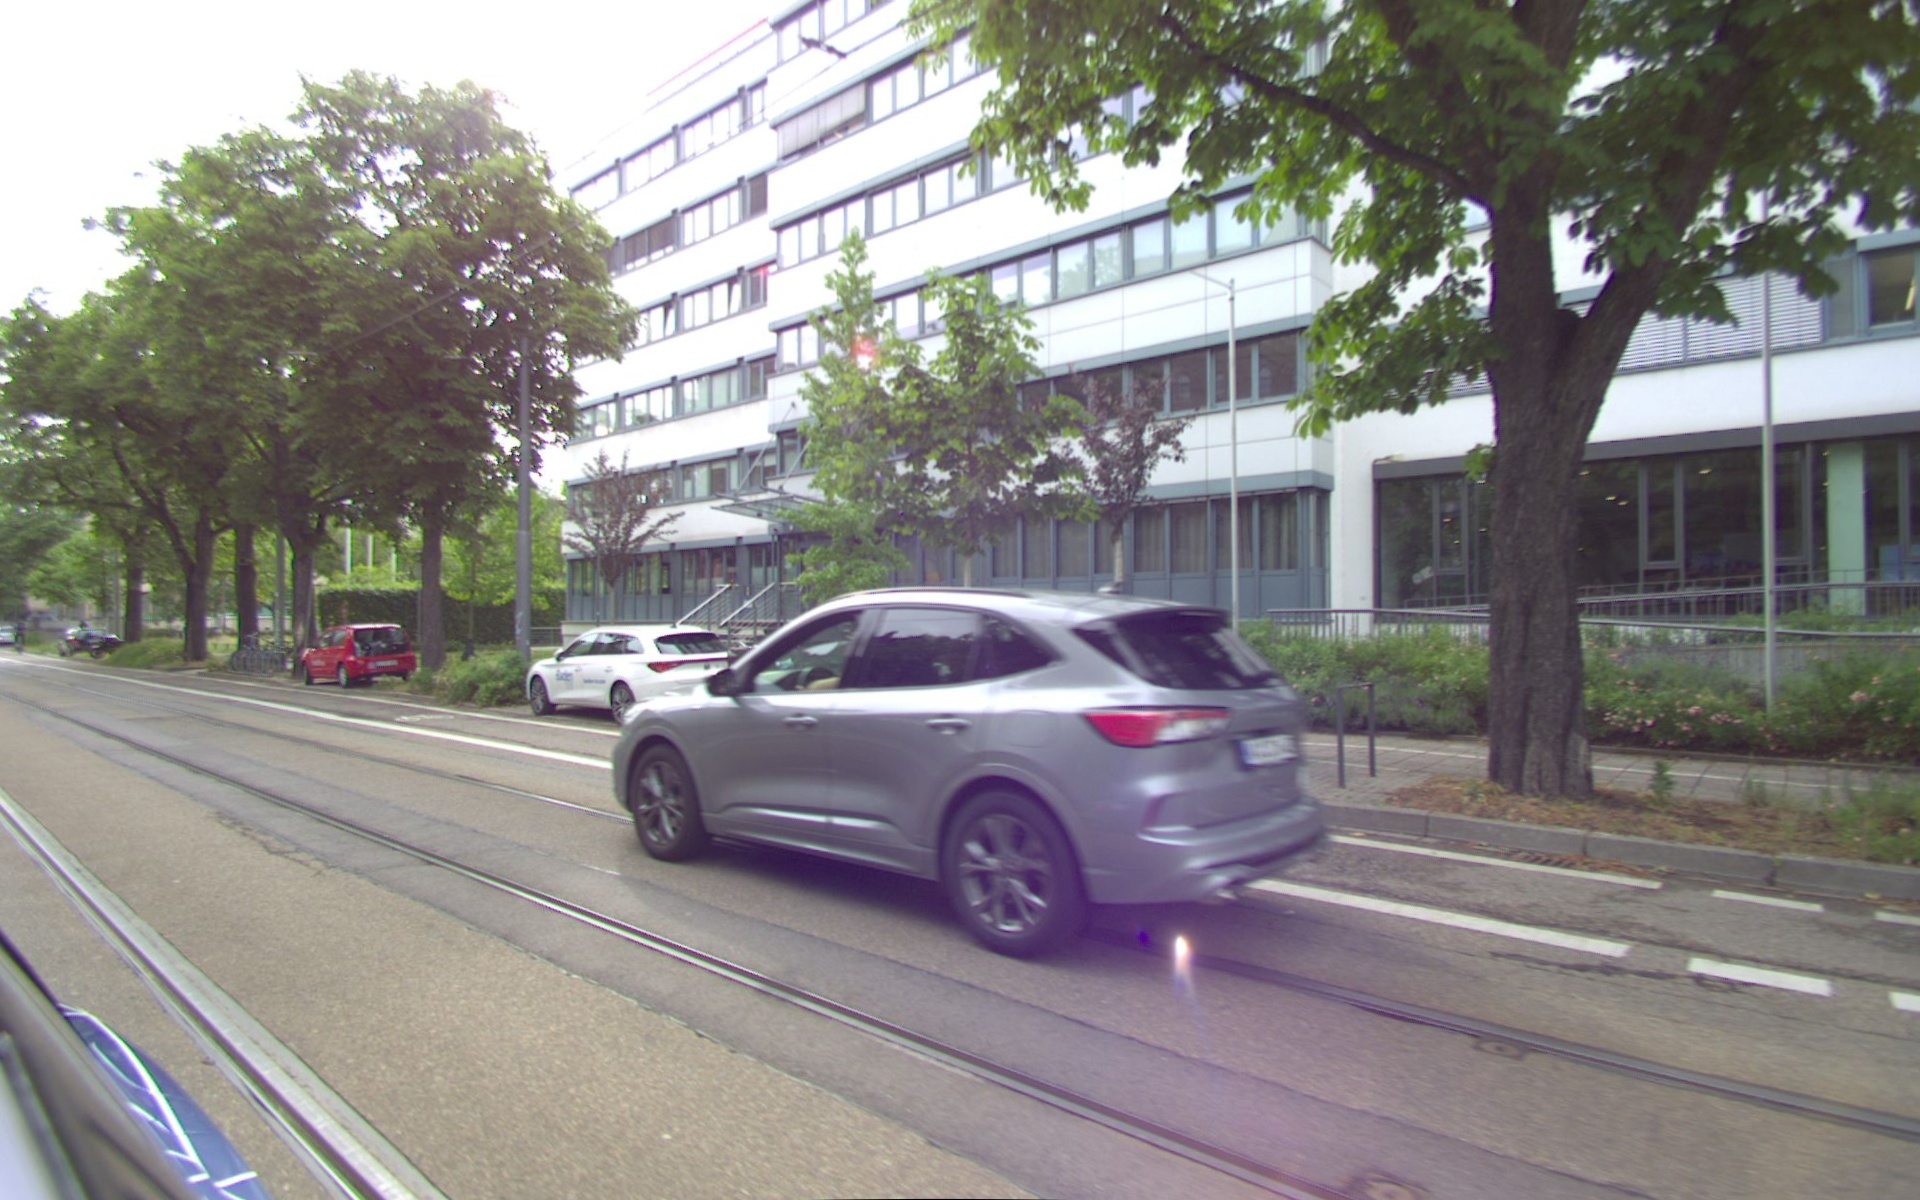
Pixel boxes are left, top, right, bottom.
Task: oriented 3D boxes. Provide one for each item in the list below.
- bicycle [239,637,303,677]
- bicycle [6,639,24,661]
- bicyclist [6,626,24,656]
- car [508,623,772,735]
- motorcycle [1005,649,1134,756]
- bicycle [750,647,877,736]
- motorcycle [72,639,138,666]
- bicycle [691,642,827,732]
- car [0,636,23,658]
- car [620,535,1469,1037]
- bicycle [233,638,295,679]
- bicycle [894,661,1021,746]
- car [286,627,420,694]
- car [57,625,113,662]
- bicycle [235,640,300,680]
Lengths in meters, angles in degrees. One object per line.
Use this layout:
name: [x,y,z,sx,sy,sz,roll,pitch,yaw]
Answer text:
bicycle: [-20.719,1.711,30.449,0.617,1.149,1.454,-1,-2,40]
bicycle: [-49.026,2.576,52.509,0.628,1.058,1.995,0,0,-45]
bicyclist: [-49.033,2.126,52.511,0.628,1.549,0.955,0,-1,-45]
car: [-5.252,1.162,16.261,4.751,1.505,1.862,-2,-1,41]
motorcycle: [1.283,1.119,11.542,0.731,1.058,1.773,-1,-1,34]
bicycle: [-1.950,1.192,13.681,0.631,1.108,1.790,-1,-3,35]
motorcycle: [-37.155,2.265,43.992,2.100,1.111,0.776,-1,0,-7]
bicycle: [-2.827,1.201,14.389,1.843,1.196,0.633,3,-3,-45]
car: [-67.241,3.262,70.950,3.949,1.444,1.825,-1,0,41]
car: [0.147,0.729,5.536,4.387,1.667,1.822,-2,-5,41]
bicycle: [-21.130,1.755,30.743,0.617,1.149,1.454,-1,0,40]
bicycle: [0.005,1.216,12.283,0.631,0.906,1.790,-1,-3,35]
car: [-15.144,1.454,25.188,3.752,1.458,1.612,-1,1,38]
car: [-43.367,2.124,50.132,4.002,1.722,1.790,-1,0,45]
bicycle: [-20.185,1.733,29.532,0.614,1.100,1.460,-1,0,29]
